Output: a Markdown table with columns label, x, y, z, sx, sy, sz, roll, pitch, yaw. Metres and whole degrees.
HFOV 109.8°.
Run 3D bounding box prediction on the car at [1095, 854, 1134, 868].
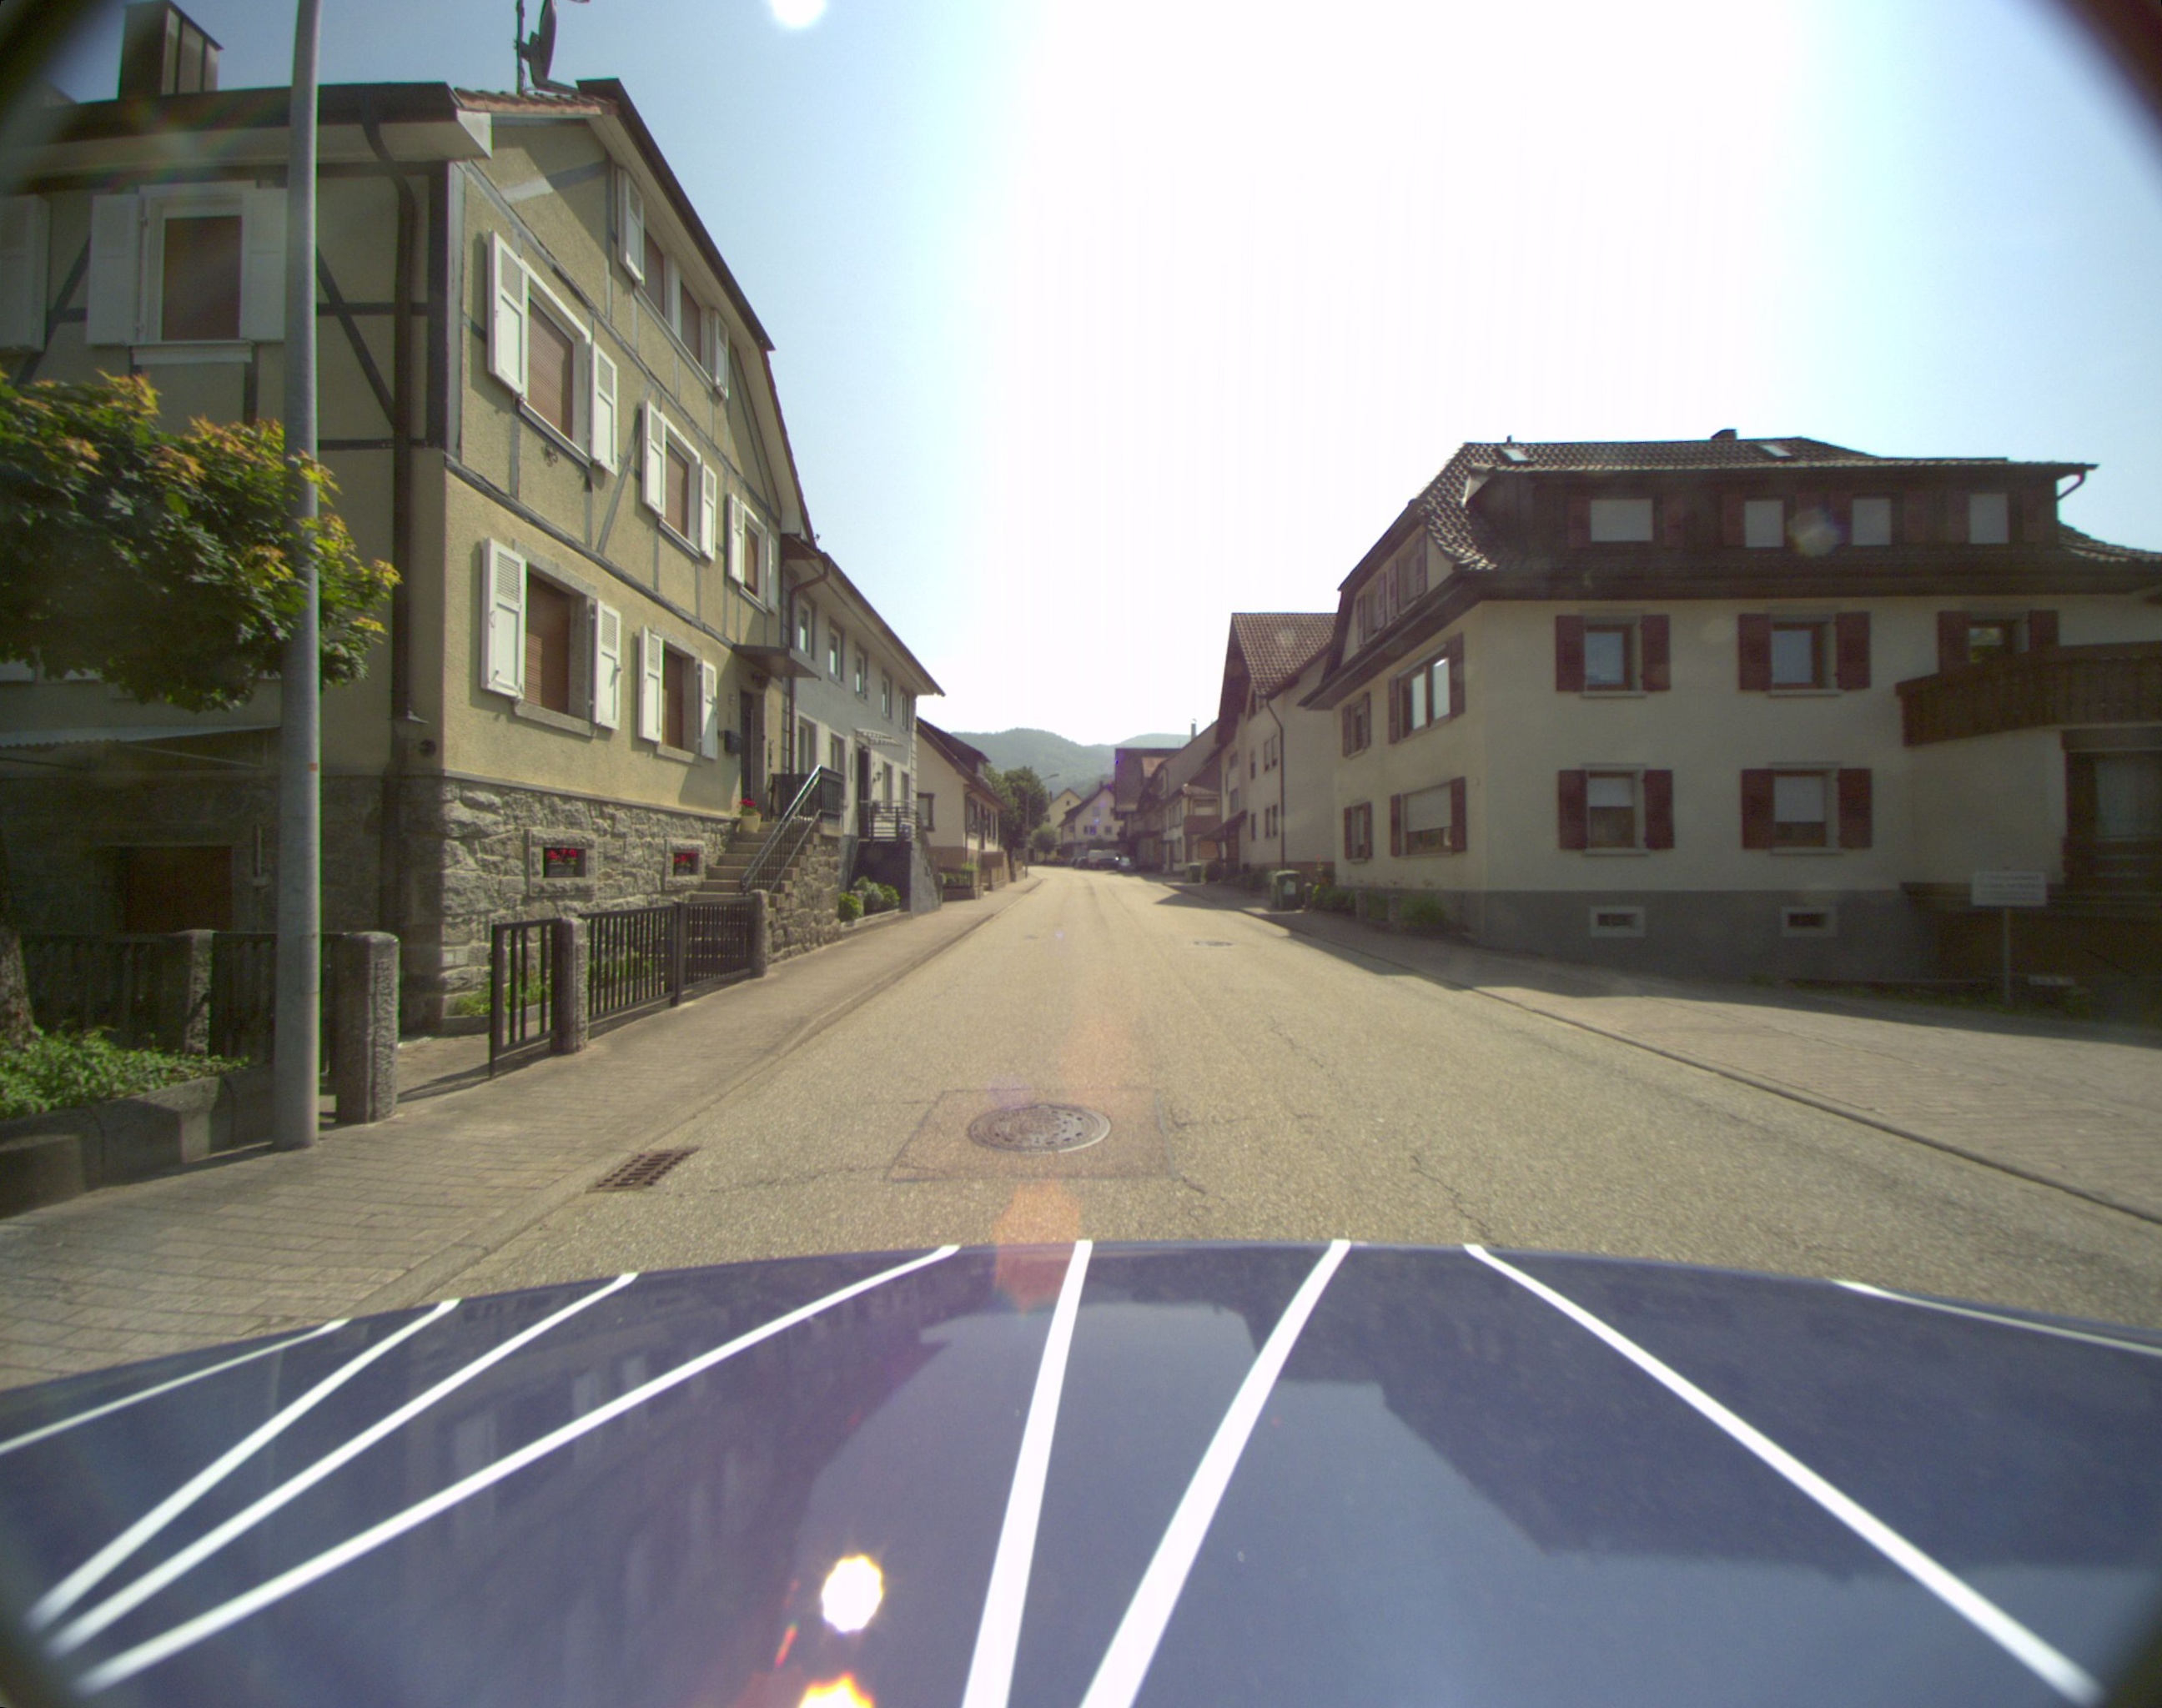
| label | x | y | z | sx | sy | sz | roll | pitch | yaw |
| --- | --- | --- | --- | --- | --- | --- | --- | --- | --- |
| car | 3.541 | 0.718 | 81.467 | 4.106 | 1.494 | 1.753 | 0 | 0 | -2 |

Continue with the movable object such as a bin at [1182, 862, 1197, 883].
| label | x | y | z | sx | sy | sz | roll | pitch | yaw |
| --- | --- | --- | --- | --- | --- | --- | --- | --- | --- |
| movable object such as a bin | 6.167 | 1.046 | 43.250 | 0.719 | 1.174 | 0.598 | 1 | 0 | 1 |

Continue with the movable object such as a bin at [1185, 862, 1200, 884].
| label | x | y | z | sx | sy | sz | roll | pitch | yaw |
| --- | --- | --- | --- | --- | --- | --- | --- | --- | --- |
| movable object such as a bin | 6.169 | 1.026 | 41.939 | 0.719 | 1.174 | 0.598 | 1 | 0 | 1 |

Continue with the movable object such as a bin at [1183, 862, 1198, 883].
| label | x | y | z | sx | sy | sz | roll | pitch | yaw |
| --- | --- | --- | --- | --- | --- | --- | --- | --- | --- |
| movable object such as a bin | 6.154 | 1.033 | 42.591 | 0.719 | 1.174 | 0.598 | 1 | 0 | 1 |

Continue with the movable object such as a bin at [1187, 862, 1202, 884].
| label | x | y | z | sx | sy | sz | roll | pitch | yaw |
| --- | --- | --- | --- | --- | --- | --- | --- | --- | --- |
| movable object such as a bin | 6.169 | 1.019 | 41.282 | 0.719 | 1.174 | 0.598 | 1 | 0 | 1 |

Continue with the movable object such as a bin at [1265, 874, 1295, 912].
| label | x | y | z | sx | sy | sz | roll | pitch | yaw |
| --- | --- | --- | --- | --- | --- | --- | --- | --- | --- |
| movable object such as a bin | 5.793 | 1.137 | 22.125 | 0.677 | 1.060 | 0.653 | 0 | 1 | -2 |

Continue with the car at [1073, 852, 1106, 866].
| label | x | y | z | sx | sy | sz | roll | pitch | yaw |
| --- | --- | --- | --- | --- | --- | --- | --- | --- | --- |
| car | 1.021 | 0.606 | 93.434 | 3.996 | 1.563 | 1.577 | 1 | 0 | 1 |

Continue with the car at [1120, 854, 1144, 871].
| label | x | y | z | sx | sy | sz | roll | pitch | yaw |
| --- | --- | --- | --- | --- | --- | --- | --- | --- | --- |
| car | 4.928 | 0.833 | 73.975 | 1.775 | 1.544 | 4.284 | -1 | 0 | -3 |

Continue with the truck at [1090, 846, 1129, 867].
| label | x | y | z | sx | sy | sz | roll | pitch | yaw |
| --- | --- | --- | --- | --- | --- | --- | --- | --- | --- |
| truck | 3.173 | 0.250 | 86.515 | 4.178 | 2.253 | 1.999 | -1 | 1 | -6 |

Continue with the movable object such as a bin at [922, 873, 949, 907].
| label | x | y | z | sx | sy | sz | roll | pitch | yaw |
| --- | --- | --- | --- | --- | --- | --- | --- | --- | --- |
| movable object such as a bin | -4.530 | 1.114 | 23.667 | 0.706 | 1.014 | 0.618 | 0 | 1 | 1 |

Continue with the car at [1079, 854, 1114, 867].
| label | x | y | z | sx | sy | sz | roll | pitch | yaw |
| --- | --- | --- | --- | --- | --- | --- | --- | --- | --- |
| car | 1.793 | 0.758 | 90.175 | 3.999 | 1.444 | 1.627 | 1 | 0 | -4 |

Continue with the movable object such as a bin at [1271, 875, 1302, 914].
| label | x | y | z | sx | sy | sz | roll | pitch | yaw |
| --- | --- | --- | --- | --- | --- | --- | --- | --- | --- |
| movable object such as a bin | 5.736 | 1.119 | 21.265 | 0.677 | 1.060 | 0.621 | 0 | 1 | -2 |
